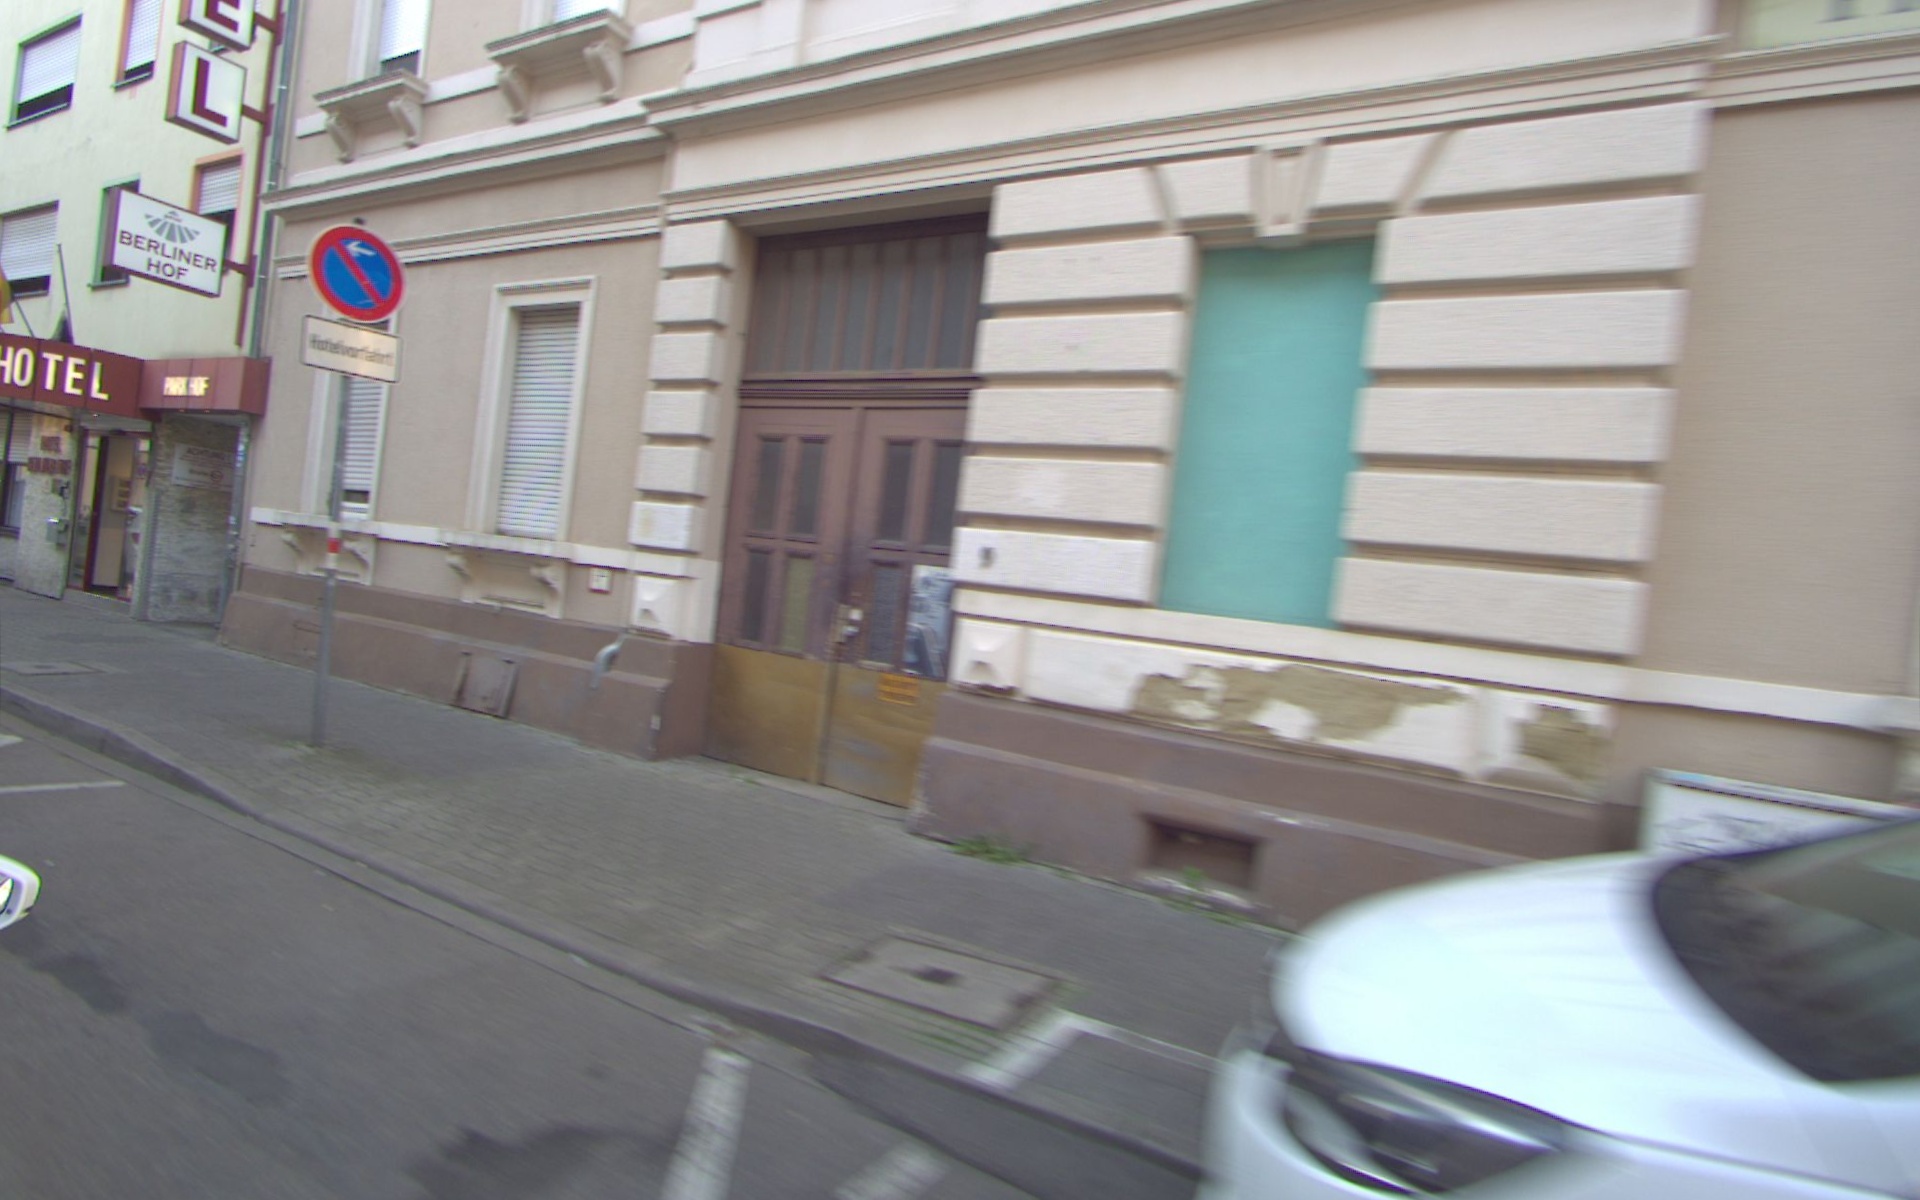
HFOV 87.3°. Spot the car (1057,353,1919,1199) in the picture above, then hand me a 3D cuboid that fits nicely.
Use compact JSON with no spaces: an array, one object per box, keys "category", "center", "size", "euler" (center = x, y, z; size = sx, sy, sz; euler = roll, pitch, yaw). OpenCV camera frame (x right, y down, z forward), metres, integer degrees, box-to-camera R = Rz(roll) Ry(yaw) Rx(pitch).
[{"category":"car","center":[2.519,0.810,1.188],"size":[4.387,1.745,1.819],"euler":[7,0,32]}]
